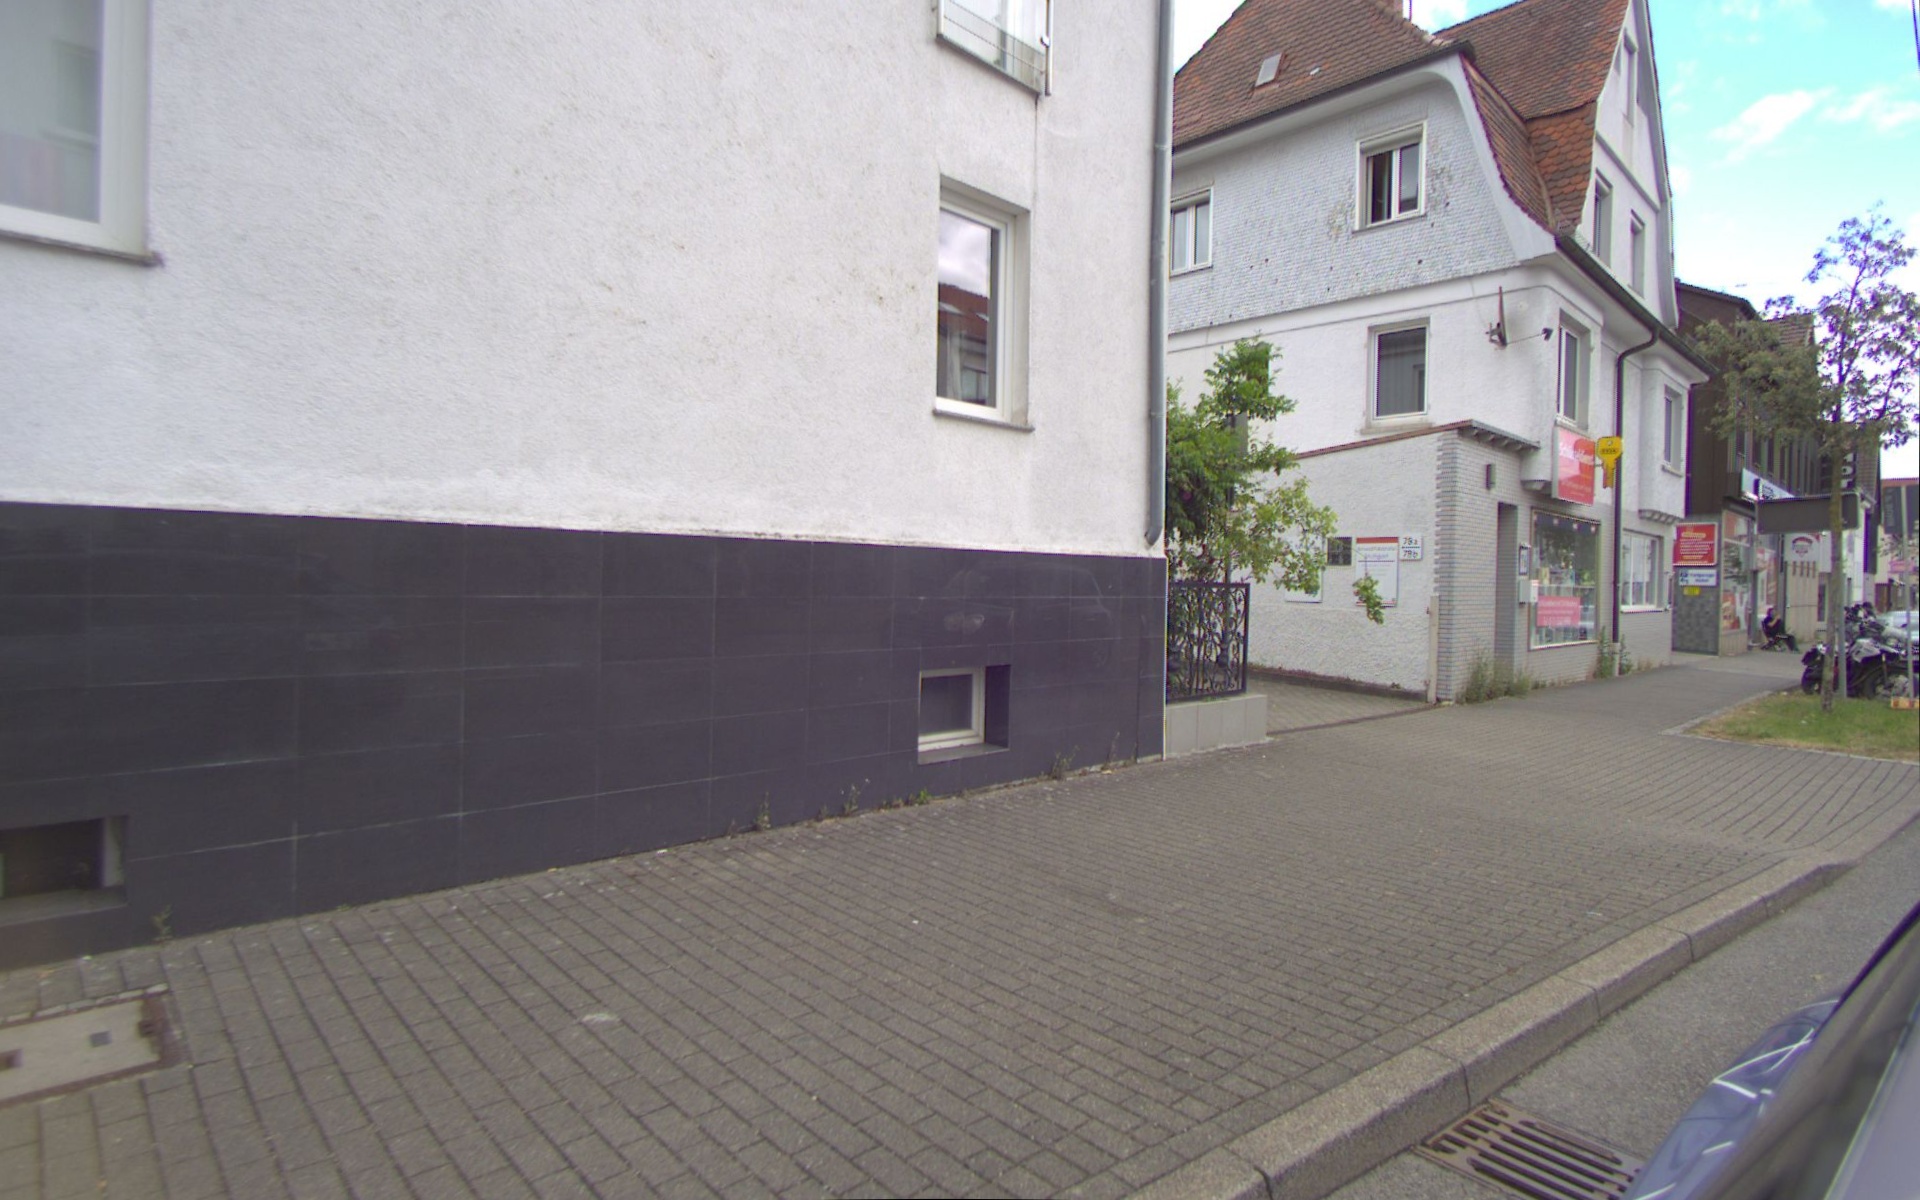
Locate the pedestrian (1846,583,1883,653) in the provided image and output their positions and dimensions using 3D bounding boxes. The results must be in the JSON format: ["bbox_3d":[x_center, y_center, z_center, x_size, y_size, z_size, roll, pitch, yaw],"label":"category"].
[{"bbox_3d":[23.587,0.460,26.404,0.641,1.762,0.731,3,2,41],"label":"pedestrian"}]

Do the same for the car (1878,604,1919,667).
[{"bbox_3d":[23.918,0.826,24.850,4.491,1.426,1.826,0,0,-45],"label":"car"}]

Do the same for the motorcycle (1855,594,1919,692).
[{"bbox_3d":[15.882,0.682,17.081,2.549,1.544,0.672,0,0,-37],"label":"motorcycle"}]

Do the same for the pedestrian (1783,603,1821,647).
[{"bbox_3d":[24.717,0.734,29.707,0.633,1.226,0.741,0,2,-44],"label":"pedestrian"}]

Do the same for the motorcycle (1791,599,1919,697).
[{"bbox_3d":[14.103,0.701,15.758,0.763,1.399,2.237,0,0,9],"label":"motorcycle"}]

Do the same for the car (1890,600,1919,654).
[{"bbox_3d":[27.825,0.751,28.942,3.839,1.460,1.641,0,0,-45],"label":"car"}]

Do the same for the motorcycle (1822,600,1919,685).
[{"bbox_3d":[16.637,0.730,18.289,2.418,1.458,0.651,0,0,-25],"label":"motorcycle"}]
